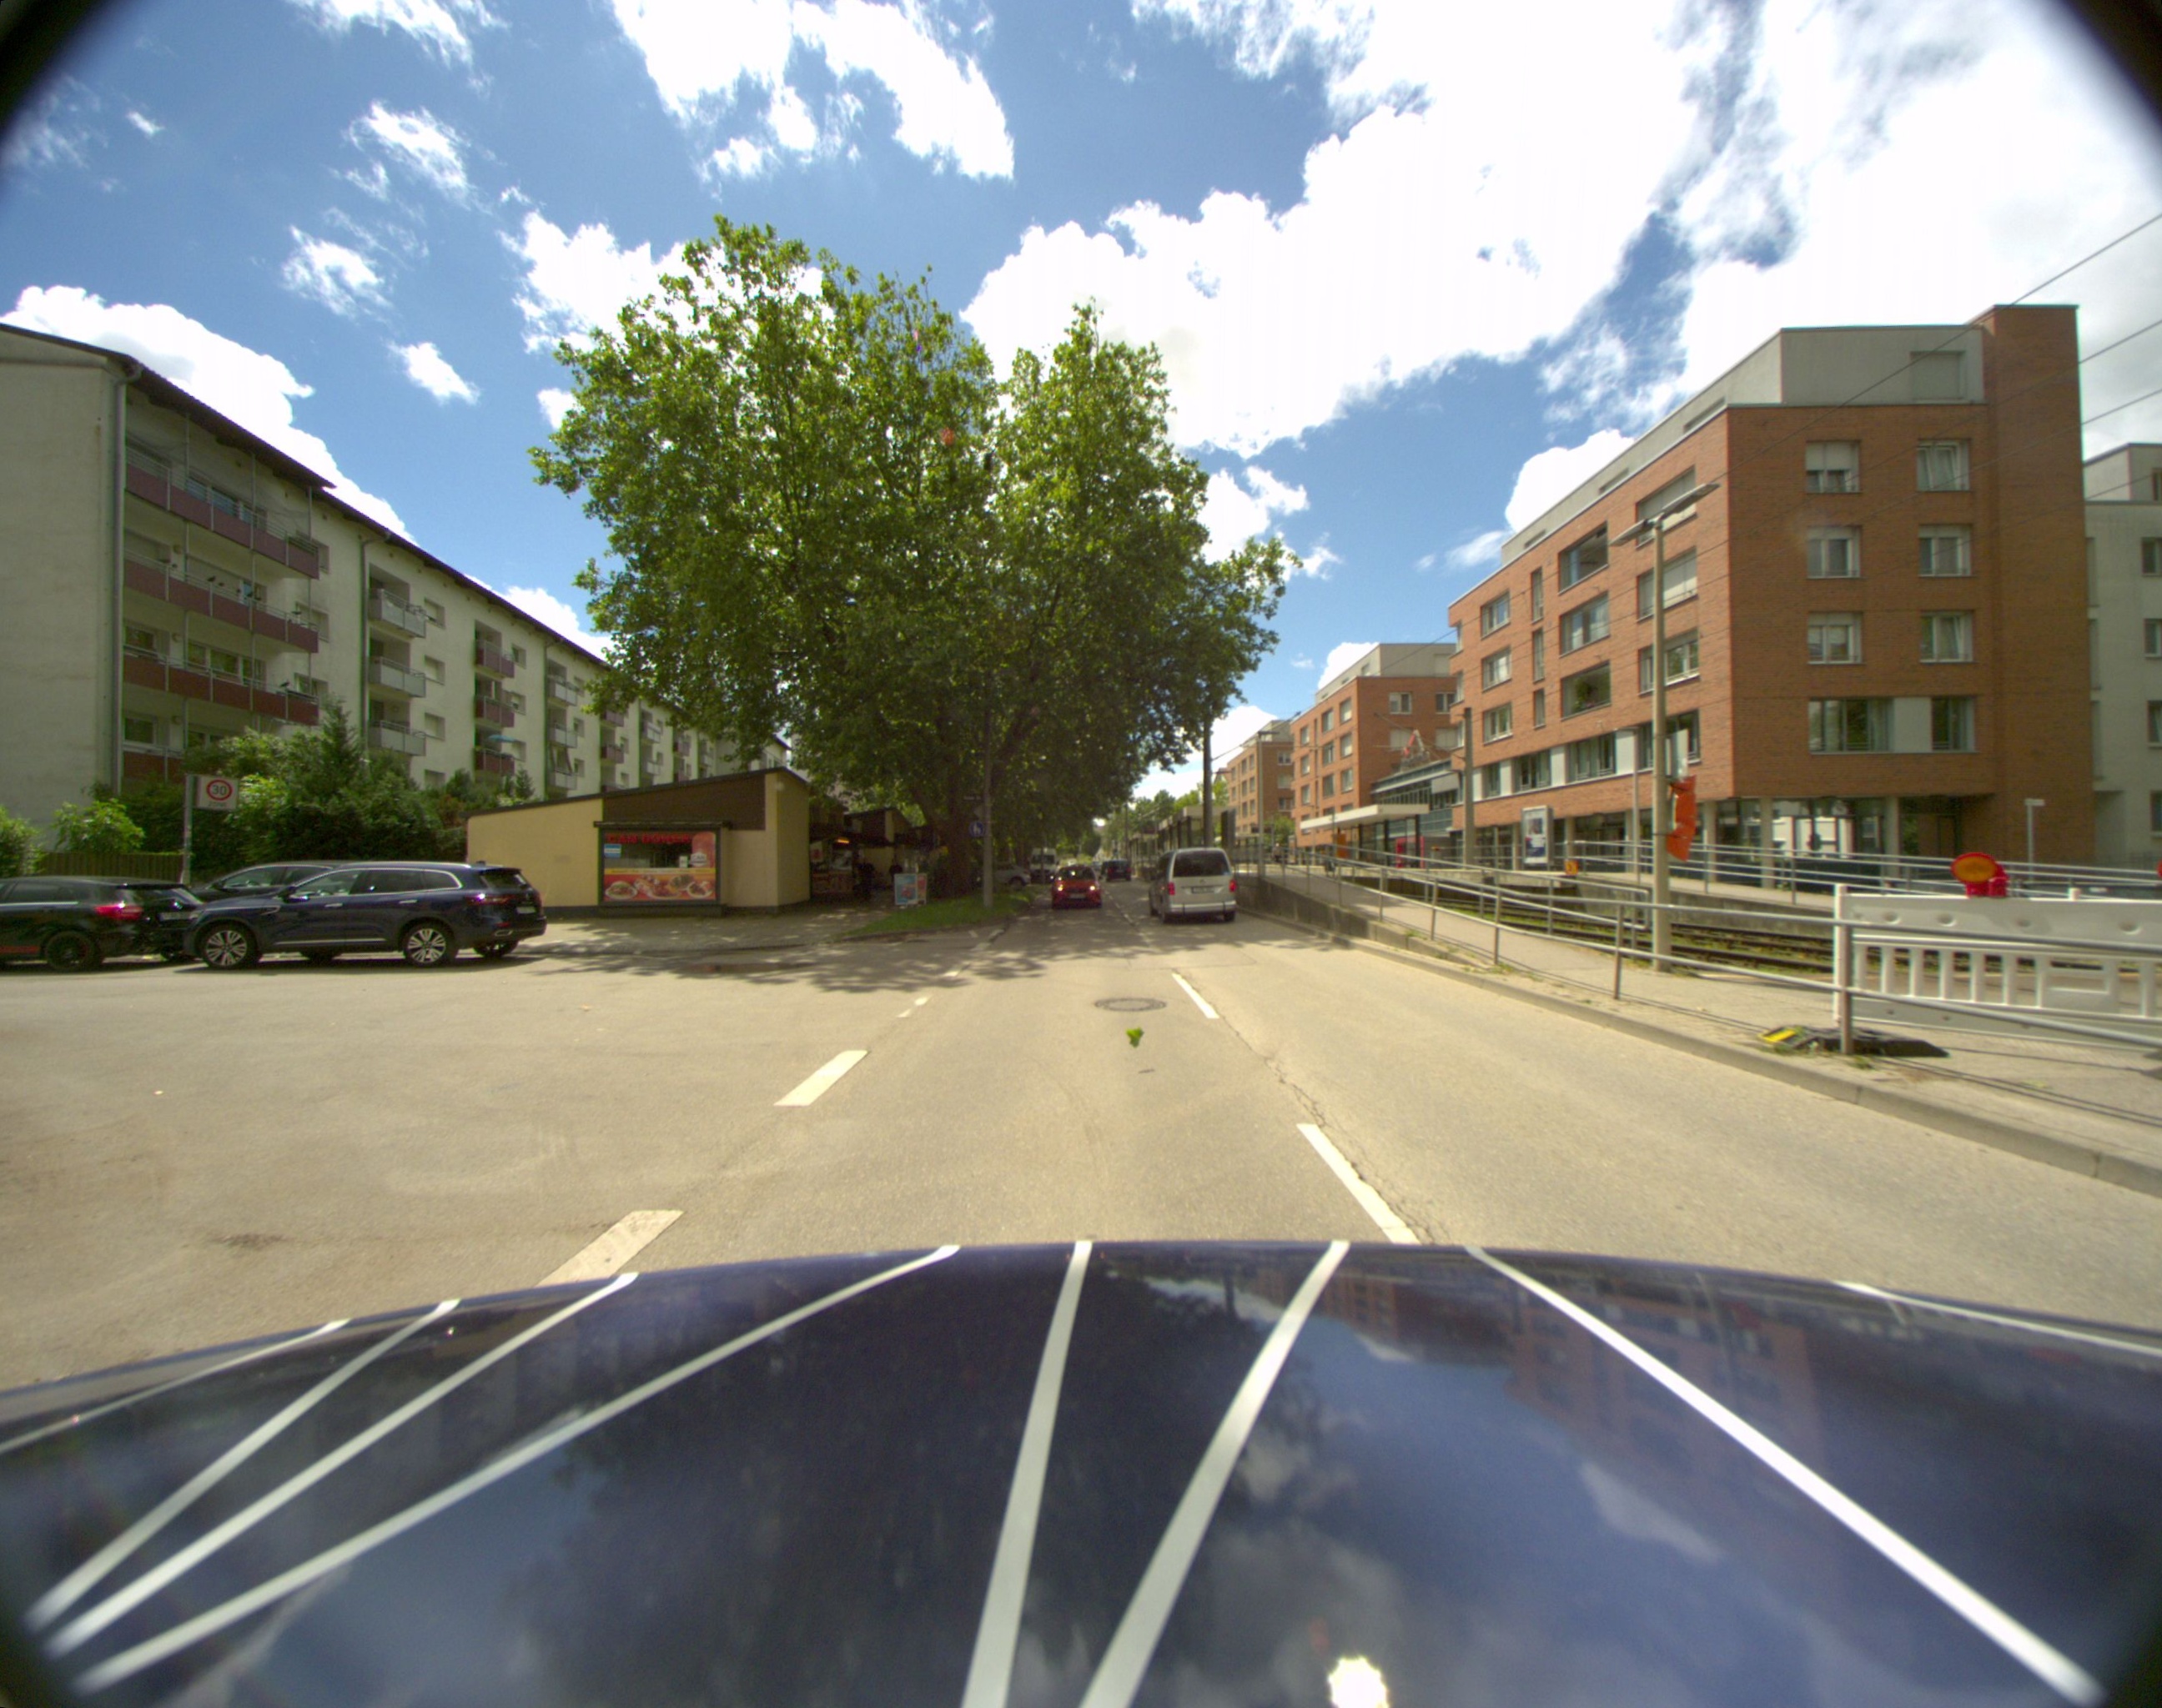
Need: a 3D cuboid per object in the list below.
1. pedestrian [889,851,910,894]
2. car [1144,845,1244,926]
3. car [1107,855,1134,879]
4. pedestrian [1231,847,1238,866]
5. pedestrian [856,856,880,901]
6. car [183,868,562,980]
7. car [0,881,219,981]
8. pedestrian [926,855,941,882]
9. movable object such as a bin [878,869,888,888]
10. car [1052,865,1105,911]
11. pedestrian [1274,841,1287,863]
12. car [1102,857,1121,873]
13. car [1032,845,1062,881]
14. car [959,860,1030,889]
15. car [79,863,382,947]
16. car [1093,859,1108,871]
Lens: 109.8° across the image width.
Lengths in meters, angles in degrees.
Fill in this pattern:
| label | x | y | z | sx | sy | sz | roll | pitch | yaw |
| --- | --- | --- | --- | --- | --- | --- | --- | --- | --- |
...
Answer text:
| label | x | y | z | sx | sy | sz | roll | pitch | yaw |
| --- | --- | --- | --- | --- | --- | --- | --- | --- | --- |
| pedestrian | -7.067 | 0.703 | 29.607 | 0.625 | 1.666 | 0.772 | 0 | 0 | 0 |
| car | 2.834 | 0.770 | 19.997 | 1.758 | 1.829 | 4.646 | -2 | -1 | -2 |
| car | 2.931 | 0.949 | 57.189 | 1.758 | 1.623 | 4.118 | -2 | 0 | 0 |
| pedestrian | 14.794 | 0.249 | 73.184 | 0.535 | 1.753 | 0.528 | 0 | 0 | -3 |
| pedestrian | -8.260 | 0.944 | 29.490 | 0.761 | 1.714 | 0.658 | 1 | 0 | -4 |
| car | -11.436 | 1.063 | 12.618 | 4.192 | 1.672 | 2.012 | 0 | -1 | -8 |
| car | -16.397 | 1.150 | 11.745 | 4.000 | 1.435 | 1.525 | 0 | -1 | -8 |
| pedestrian | -9.870 | 0.947 | 50.805 | 0.923 | 1.791 | 0.607 | 1 | 2 | 44 |
| movable object such as a bin | -9.941 | 1.226 | 38.214 | 0.438 | 0.909 | 0.587 | 0 | 0 | -9 |
| car | -0.076 | 1.155 | 27.170 | 1.712 | 1.438 | 3.670 | -2 | 0 | 0 |
| pedestrian | 14.704 | -0.139 | 56.019 | 0.753 | 1.619 | 0.816 | -2 | 0 | 0 |
| car | 3.061 | 1.117 | 77.009 | 1.700 | 1.555 | 3.860 | -1 | 0 | 0 |
| car | -2.533 | 0.637 | 57.837 | 1.909 | 2.566 | 6.833 | 1 | 0 | 0 |
| car | -4.775 | 1.120 | 42.248 | 3.841 | 1.553 | 1.619 | 0 | 0 | -7 |
| car | -17.968 | 1.025 | 16.260 | 4.105 | 1.645 | 1.810 | 0 | 0 | -8 |
| car | 2.605 | 1.468 | 103.781 | 1.767 | 1.472 | 4.576 | -3 | 0 | -1 |
